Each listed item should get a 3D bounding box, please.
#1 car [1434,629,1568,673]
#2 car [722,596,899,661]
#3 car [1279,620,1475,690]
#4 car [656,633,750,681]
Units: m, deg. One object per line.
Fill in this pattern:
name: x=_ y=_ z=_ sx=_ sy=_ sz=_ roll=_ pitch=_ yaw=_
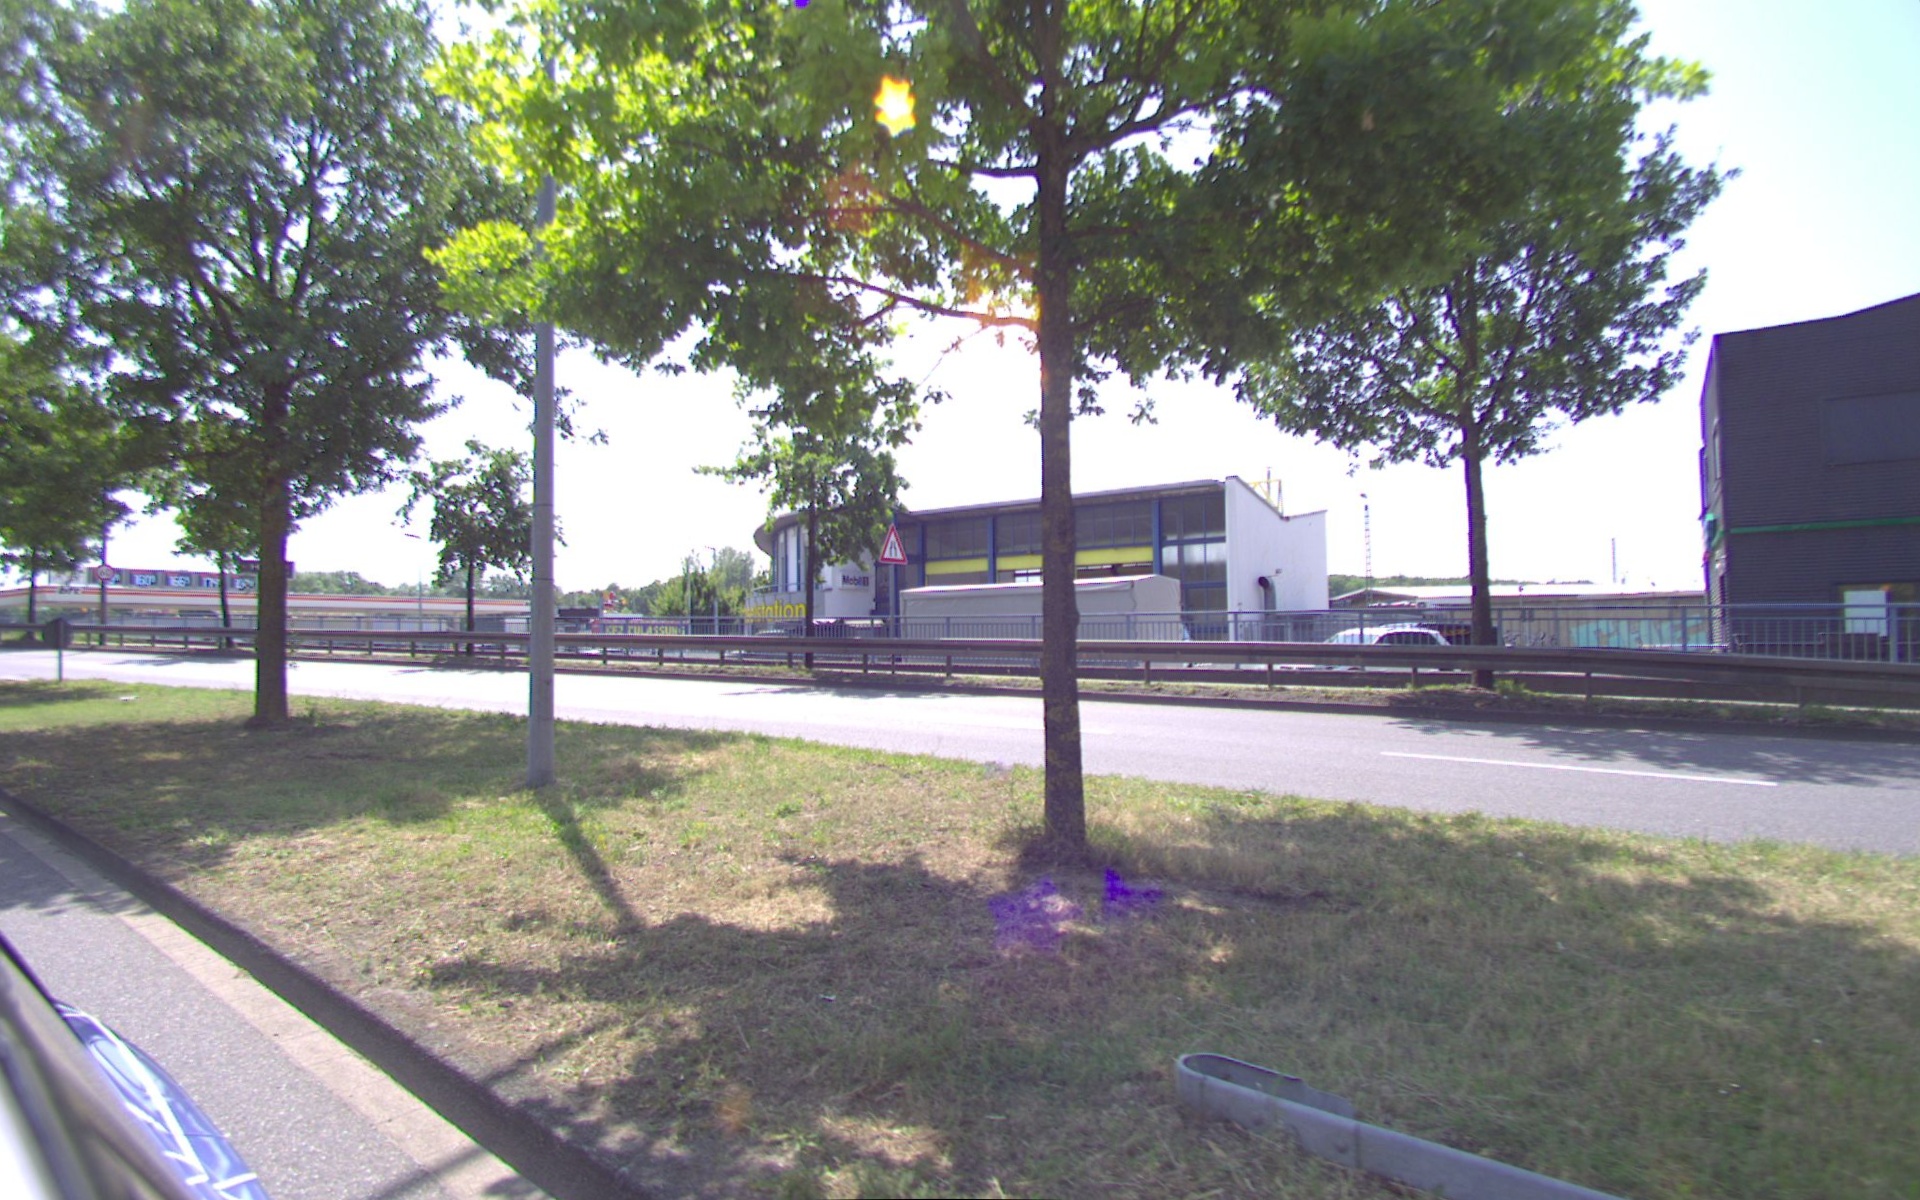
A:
car: x=18.490 y=1.723 z=34.614 sx=3.932 sy=1.390 sz=1.664 roll=0 pitch=-1 yaw=-16
car: x=-4.005 y=0.766 z=26.733 sx=4.630 sy=1.581 sz=1.880 roll=-1 pitch=-3 yaw=36
car: x=9.179 y=1.163 z=22.277 sx=3.930 sy=1.390 sz=1.665 roll=0 pitch=-1 yaw=-23
car: x=-11.840 y=2.583 z=46.755 sx=1.994 sy=2.029 sz=3.956 roll=-1 pitch=-1 yaw=32
